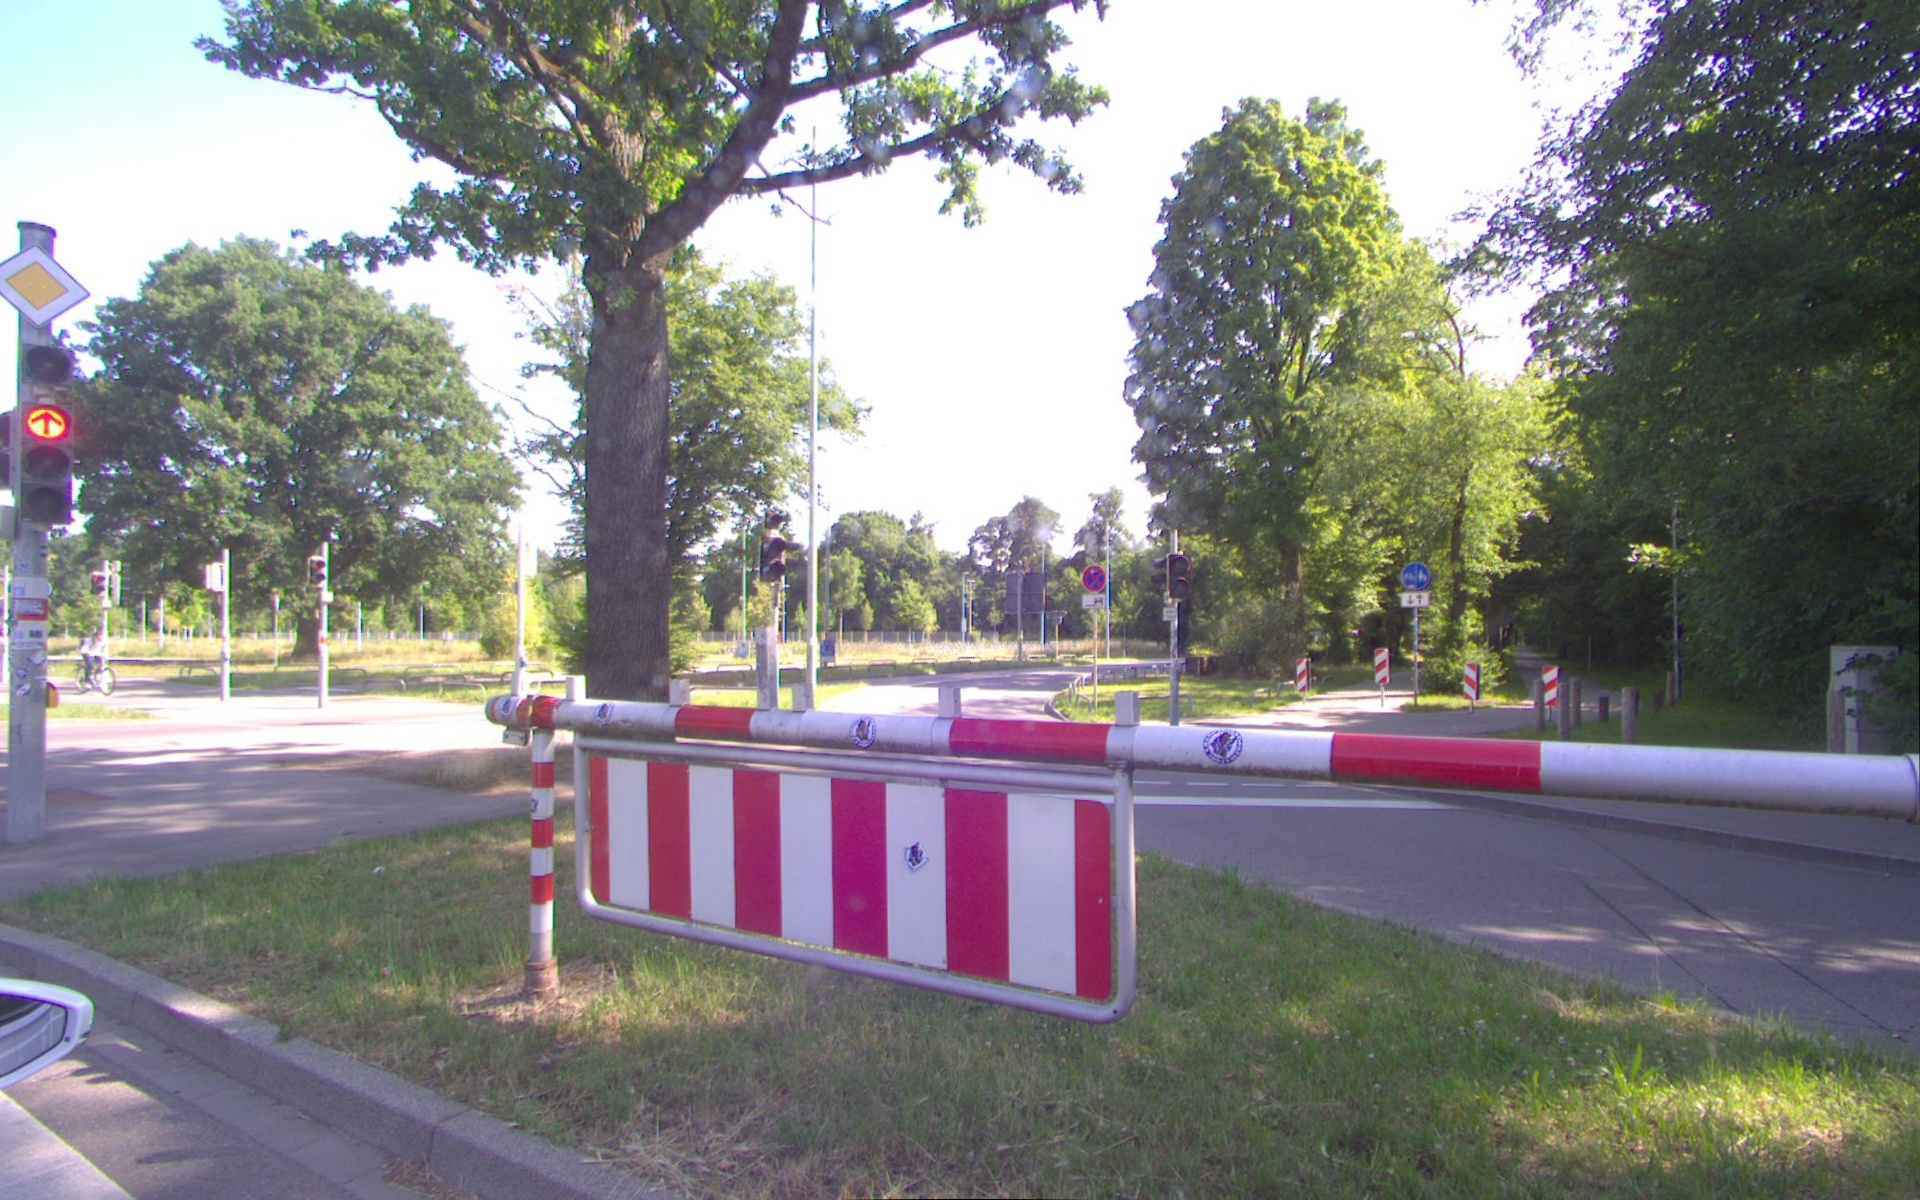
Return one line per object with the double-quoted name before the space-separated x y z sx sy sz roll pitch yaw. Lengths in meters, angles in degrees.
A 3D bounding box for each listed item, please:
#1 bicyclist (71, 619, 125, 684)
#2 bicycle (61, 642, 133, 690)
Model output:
"bicyclist" -22.528 1.330 26.179 1.041 1.660 0.723 0 -1 28
"bicycle" -22.560 1.706 26.180 2.068 1.215 0.723 -1 -2 28
